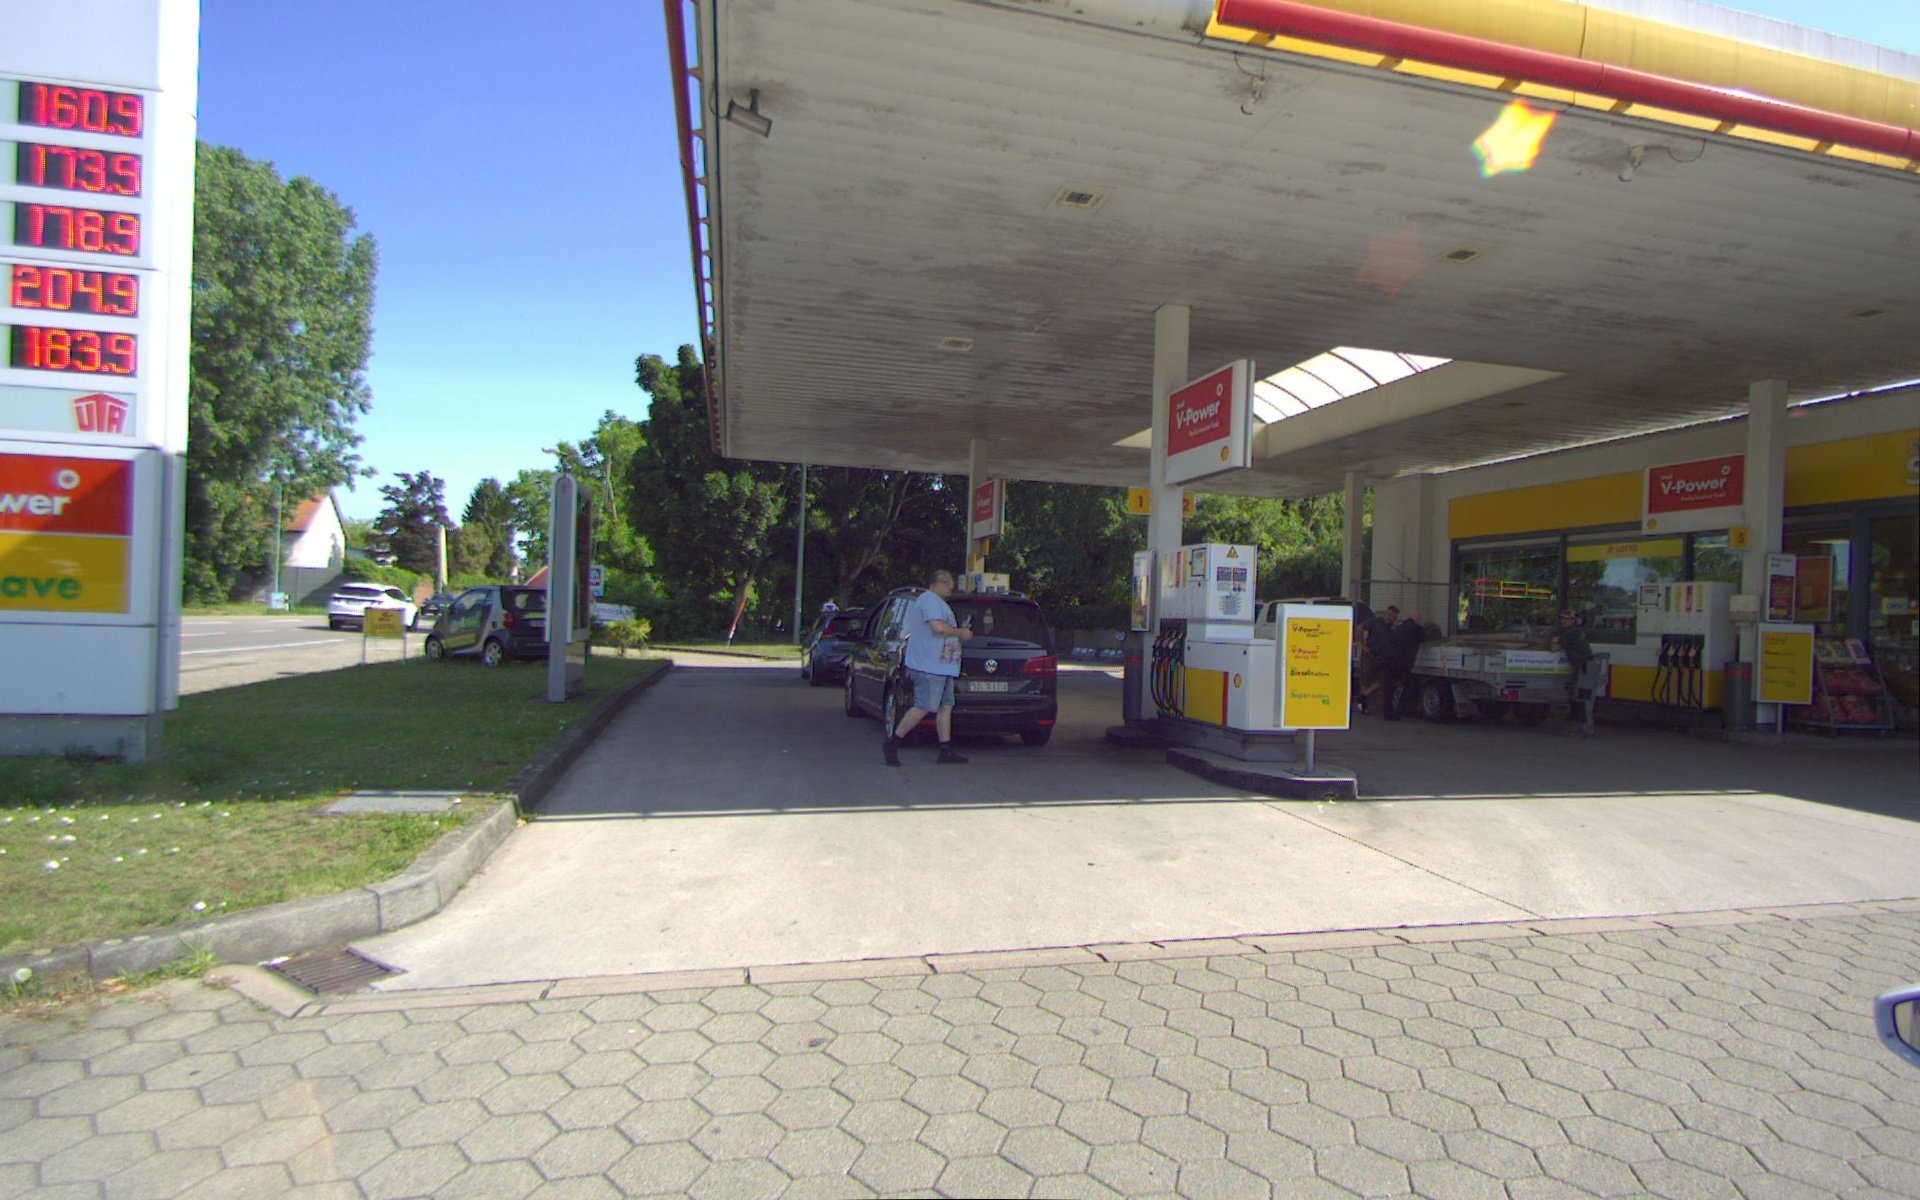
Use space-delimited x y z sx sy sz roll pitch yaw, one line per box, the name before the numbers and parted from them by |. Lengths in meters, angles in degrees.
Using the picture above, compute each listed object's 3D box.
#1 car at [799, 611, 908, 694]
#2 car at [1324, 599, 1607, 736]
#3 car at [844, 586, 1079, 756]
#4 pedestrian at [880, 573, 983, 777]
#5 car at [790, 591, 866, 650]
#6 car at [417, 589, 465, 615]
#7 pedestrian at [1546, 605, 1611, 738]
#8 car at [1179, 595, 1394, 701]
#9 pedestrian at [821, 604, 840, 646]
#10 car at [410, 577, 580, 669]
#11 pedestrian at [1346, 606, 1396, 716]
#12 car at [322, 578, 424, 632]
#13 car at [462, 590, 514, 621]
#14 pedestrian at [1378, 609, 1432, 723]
car | -2.152 0.944 19.433 1.771 1.378 3.841 2 -1 -10
car | 7.425 0.944 15.254 1.800 1.750 3.994 2 -2 -9
car | -0.178 0.720 11.557 1.736 1.599 3.866 2 -1 -15
pedestrian | -0.274 0.657 9.120 0.664 1.752 0.808 2 -1 -19
car | -4.670 0.710 34.965 1.968 1.788 3.987 4 -2 -16
car | -34.121 0.164 66.104 1.796 1.477 3.990 4 -2 -13
pedestrian | 8.090 0.926 13.145 0.467 1.690 0.499 2 -1 -12
car | 6.413 0.892 20.396 1.826 1.862 4.766 2 -1 -15
pedestrian | -4.879 0.957 37.887 0.666 1.557 0.393 2 -1 -9
car | -8.708 0.430 18.809 2.683 1.550 1.575 2 -3 31
pedestrian | 6.284 0.926 15.372 0.492 1.653 0.475 2 -1 -10
car | -20.471 0.183 35.230 1.783 1.670 4.296 4 -1 -13
car | -25.196 0.296 53.701 1.624 1.449 4.043 5 -1 -14
pedestrian | 6.423 0.944 14.507 0.492 1.614 0.475 2 -1 -10
